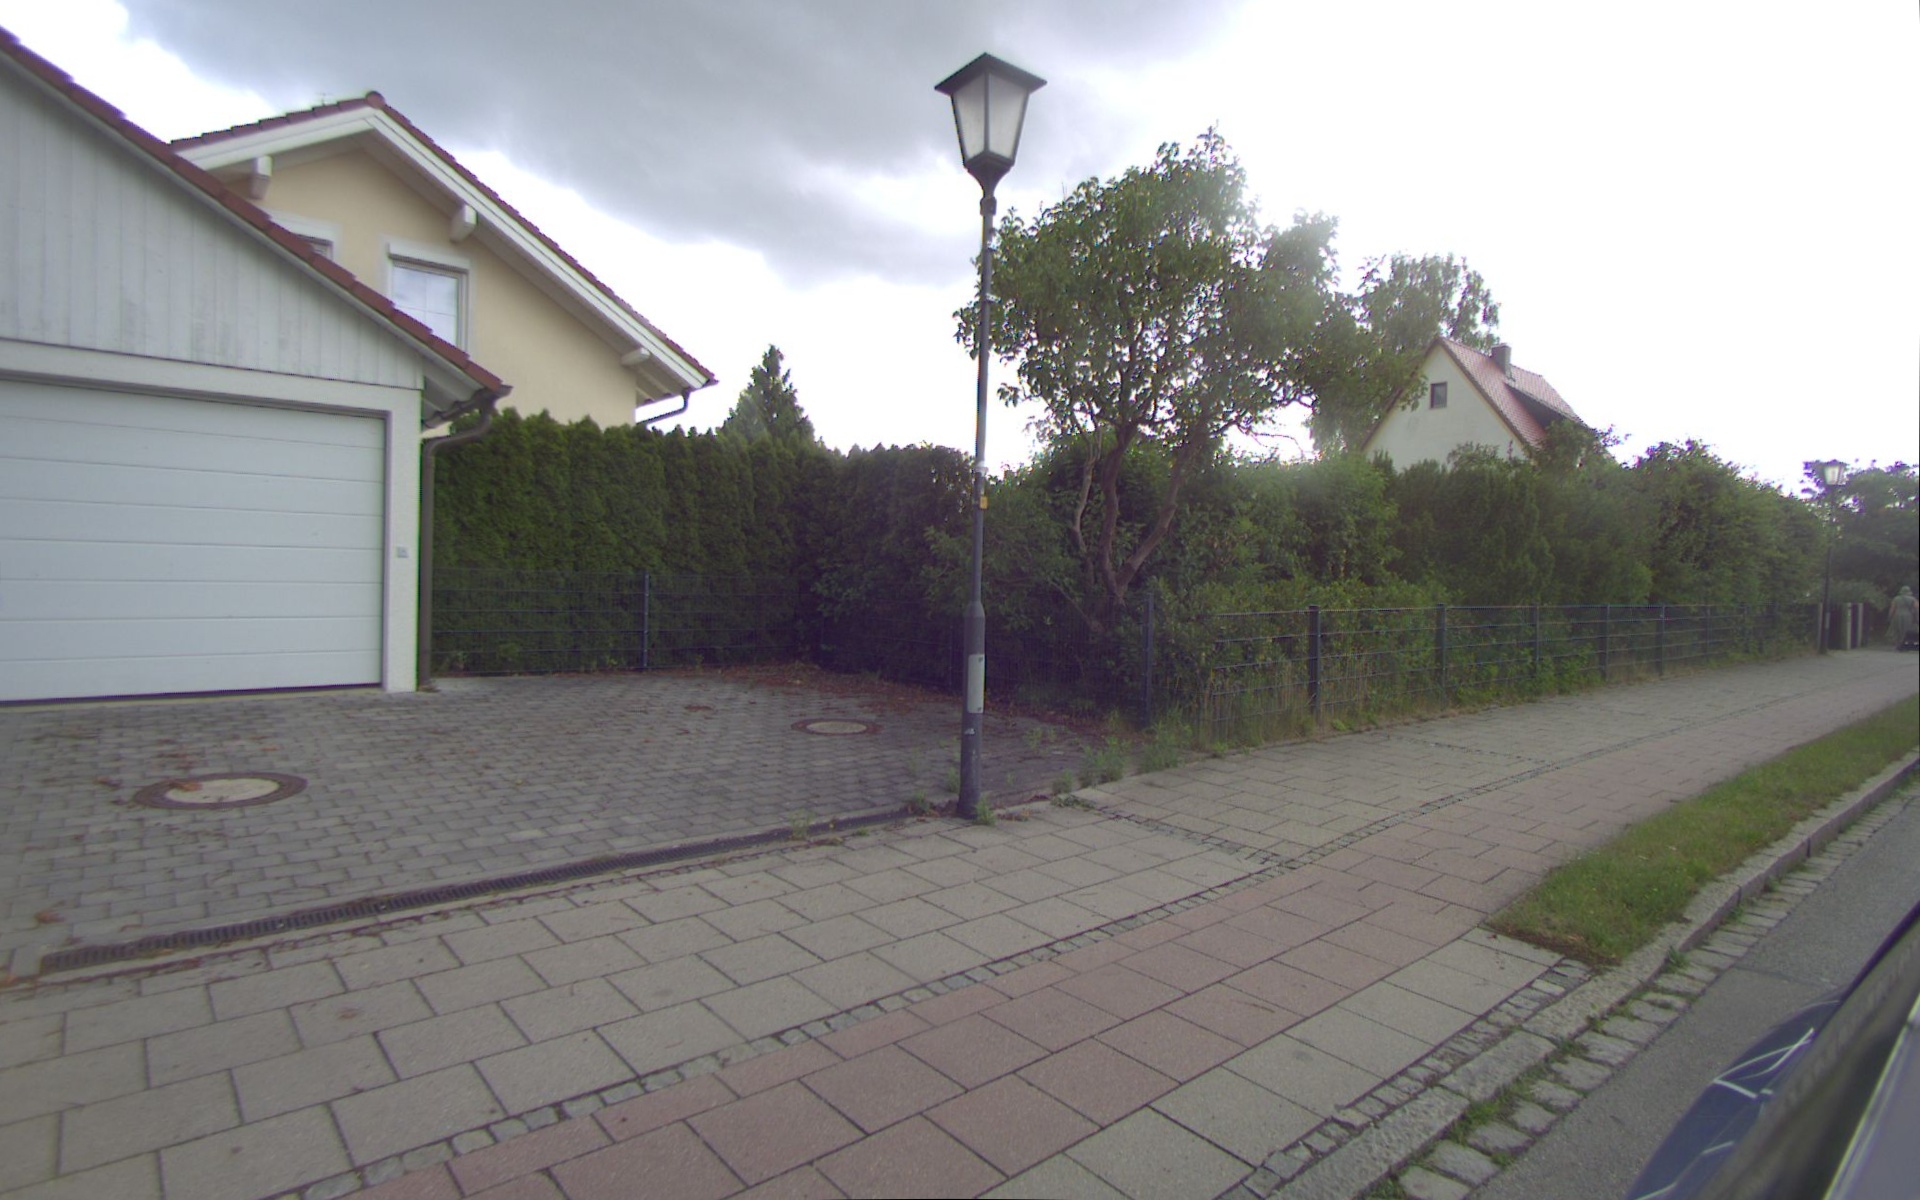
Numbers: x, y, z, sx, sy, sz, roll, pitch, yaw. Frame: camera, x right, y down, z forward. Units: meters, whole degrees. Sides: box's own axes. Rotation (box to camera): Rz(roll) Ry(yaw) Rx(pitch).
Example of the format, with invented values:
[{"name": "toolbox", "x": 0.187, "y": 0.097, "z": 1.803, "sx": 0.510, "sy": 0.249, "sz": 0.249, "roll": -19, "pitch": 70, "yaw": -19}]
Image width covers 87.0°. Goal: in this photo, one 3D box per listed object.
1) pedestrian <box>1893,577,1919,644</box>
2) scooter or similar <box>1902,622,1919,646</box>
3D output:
[{"name": "pedestrian", "x": 23.813, "y": 0.256, "z": 25.177, "sx": 0.791, "sy": 1.621, "sz": 0.660, "roll": 3, "pitch": 2, "yaw": 44}, {"name": "scooter or similar", "x": 23.366, "y": 0.824, "z": 24.642, "sx": 0.616, "sy": 0.563, "sz": 0.731, "roll": 1, "pitch": 0, "yaw": 43}]
